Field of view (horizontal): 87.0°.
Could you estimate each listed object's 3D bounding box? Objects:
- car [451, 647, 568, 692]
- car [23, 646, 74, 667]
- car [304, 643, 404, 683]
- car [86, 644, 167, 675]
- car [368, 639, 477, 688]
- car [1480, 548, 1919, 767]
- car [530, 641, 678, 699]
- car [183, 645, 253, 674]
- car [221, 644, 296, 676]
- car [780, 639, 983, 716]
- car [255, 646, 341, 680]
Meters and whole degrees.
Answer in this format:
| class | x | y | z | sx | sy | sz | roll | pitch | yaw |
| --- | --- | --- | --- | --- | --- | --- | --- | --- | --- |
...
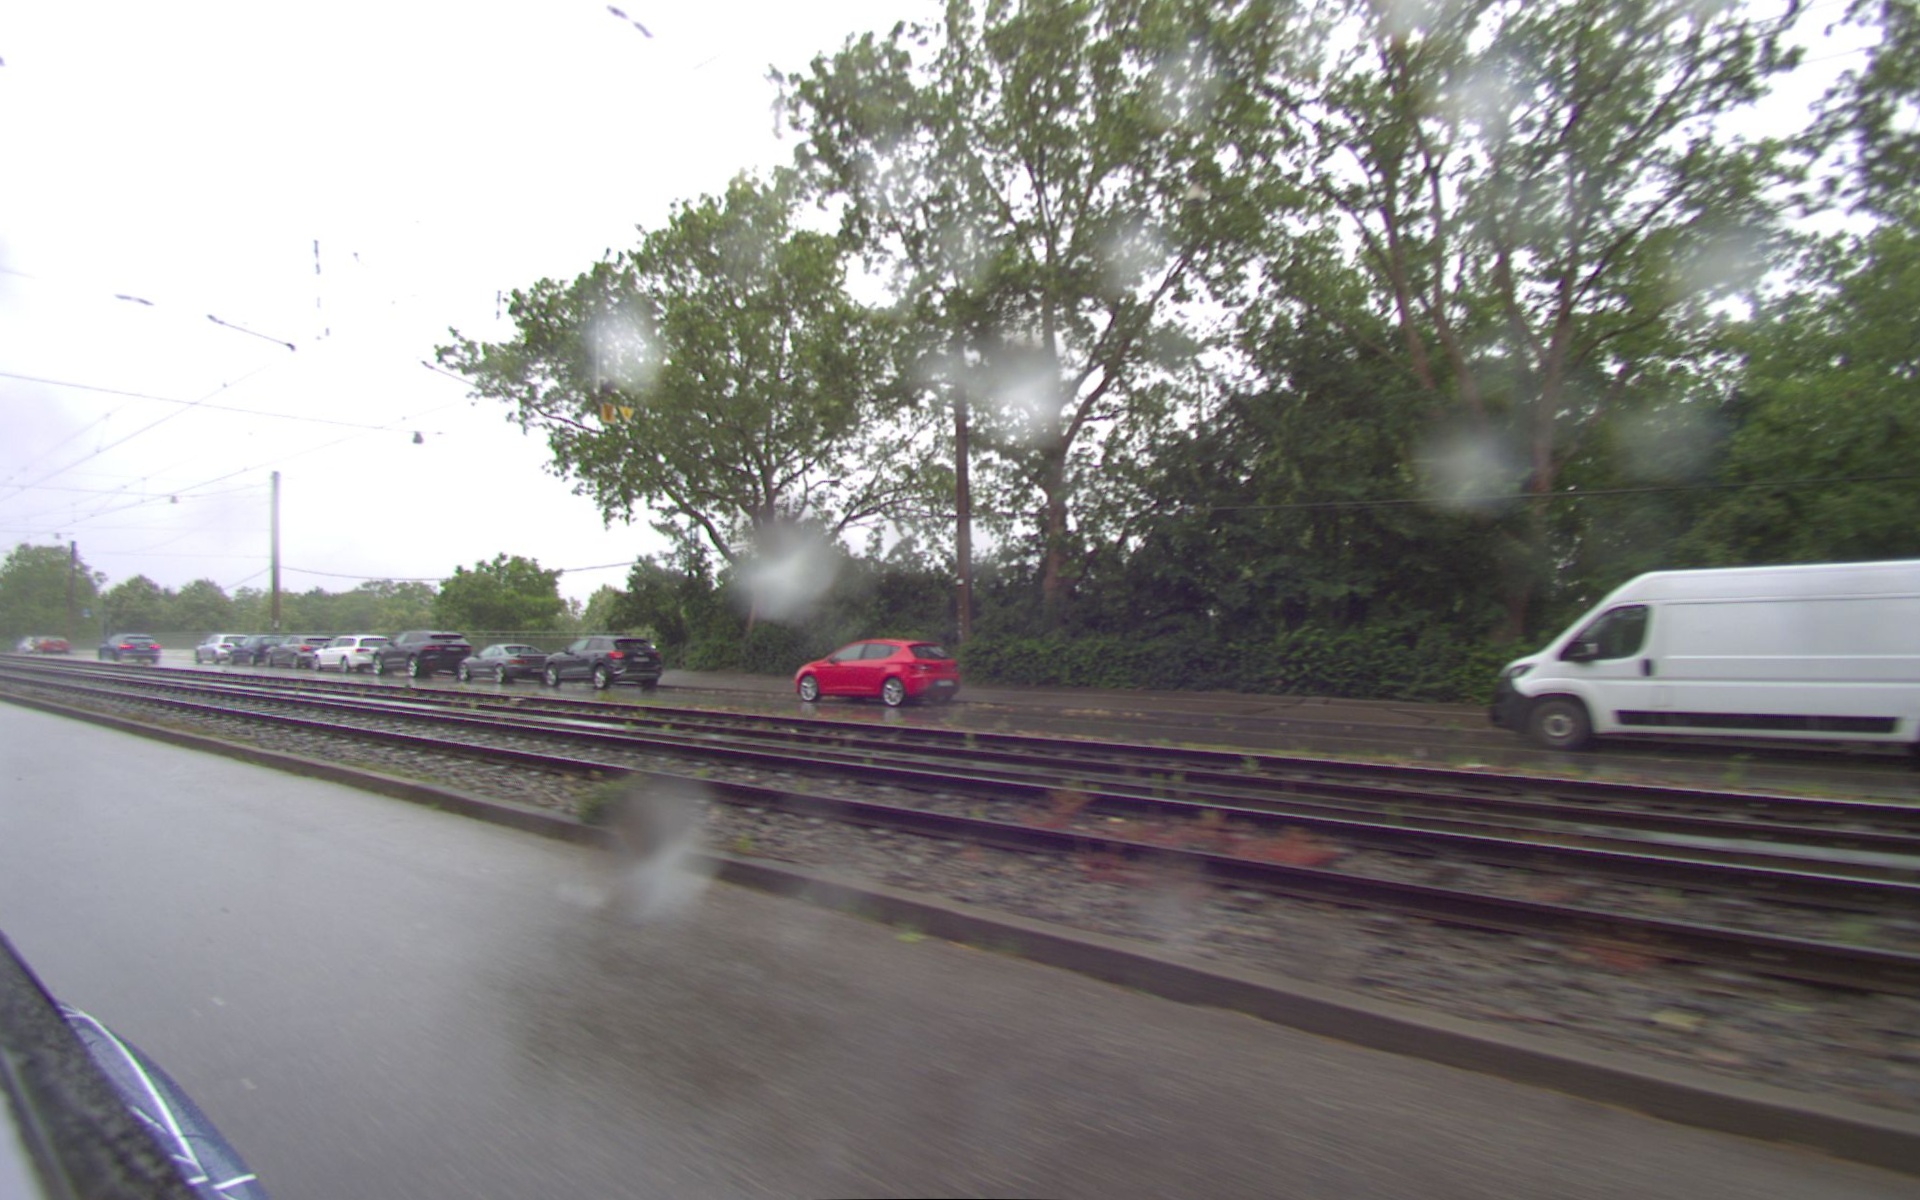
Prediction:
| class | x | y | z | sx | sy | sz | roll | pitch | yaw |
| --- | --- | --- | --- | --- | --- | --- | --- | --- | --- |
| car | -14.727 | 2.238 | 33.027 | 3.960 | 1.389 | 1.867 | -2 | -4 | 38 |
| car | -69.282 | 4.293 | 76.908 | 4.909 | 1.478 | 2.014 | -2 | -2 | 37 |
| car | -24.337 | 2.518 | 40.615 | 4.571 | 1.522 | 1.868 | -2 | -4 | 37 |
| car | -42.230 | 3.005 | 51.254 | 4.909 | 1.478 | 2.014 | -2 | -4 | 37 |
| car | -19.556 | 2.278 | 36.741 | 4.363 | 1.663 | 1.867 | -2 | -4 | 38 |
| car | 10.425 | 0.725 | 13.209 | 6.130 | 2.465 | 2.307 | -2 | -3 | 38 |
| car | -10.492 | 2.012 | 29.753 | 4.377 | 1.564 | 2.014 | -2 | -4 | 37 |
| car | -37.478 | 2.981 | 51.092 | 4.144 | 1.442 | 1.633 | -2 | -4 | 36 |
| car | -33.268 | 2.821 | 47.986 | 3.917 | 1.442 | 1.634 | -2 | -4 | 35 |
| car | -1.819 | 1.689 | 22.846 | 4.379 | 1.564 | 2.013 | -2 | -4 | 38 |
| car | -29.066 | 2.749 | 44.414 | 4.121 | 1.442 | 1.634 | -2 | -4 | 34 |
